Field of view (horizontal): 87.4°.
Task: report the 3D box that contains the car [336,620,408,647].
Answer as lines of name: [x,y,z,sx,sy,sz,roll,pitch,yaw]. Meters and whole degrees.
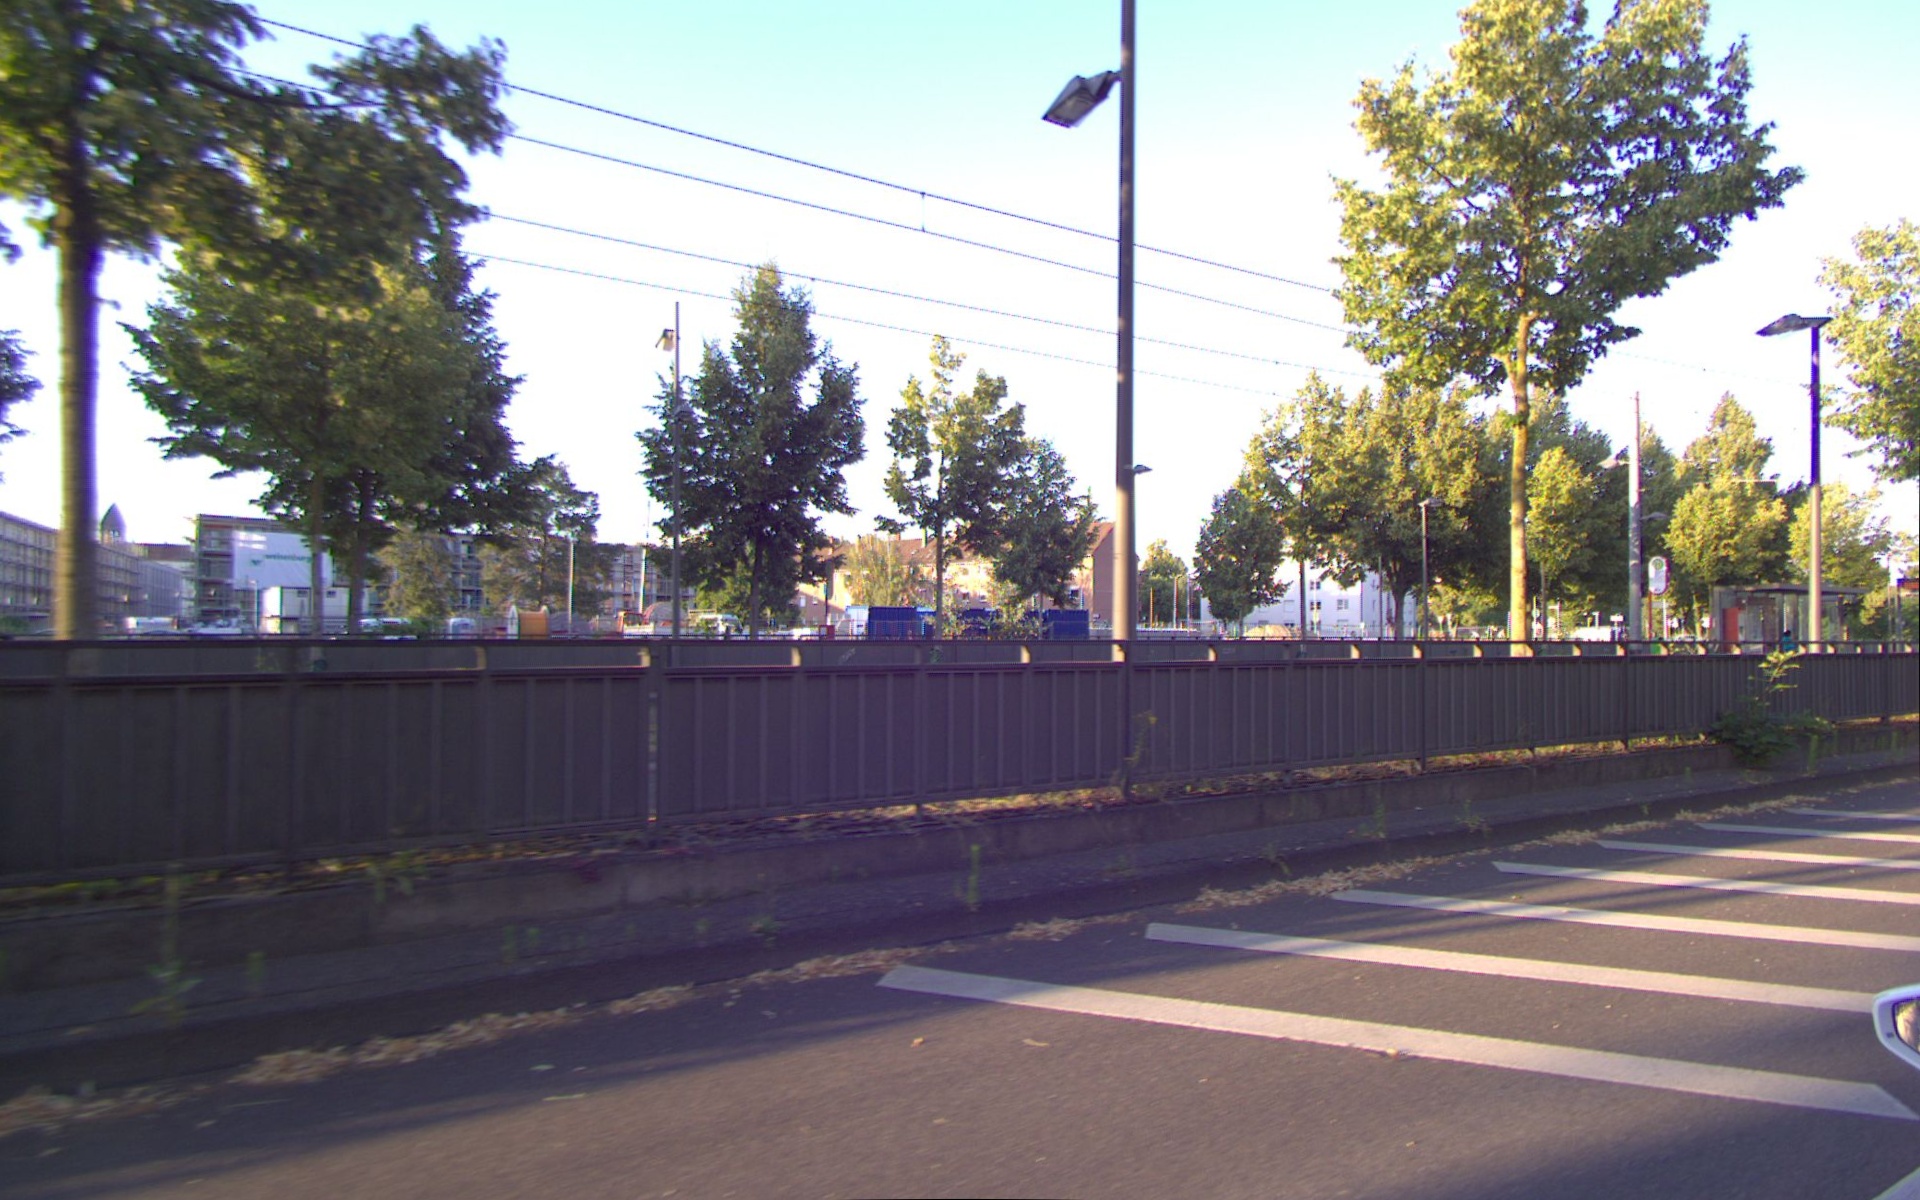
car: [-46.404,2.645,79.320,4.760,2.040,1.979,2,-2,-37]

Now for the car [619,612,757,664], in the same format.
car: [-12.373,1.728,46.100,2.384,2.254,5.897,-1,-2,36]

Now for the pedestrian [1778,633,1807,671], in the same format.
pedestrian: [30.445,1.893,36.734,0.737,1.337,0.611,1,-2,-33]

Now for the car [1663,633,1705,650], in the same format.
car: [72.912,4.131,101.095,3.953,1.684,1.984,1,-2,-30]
